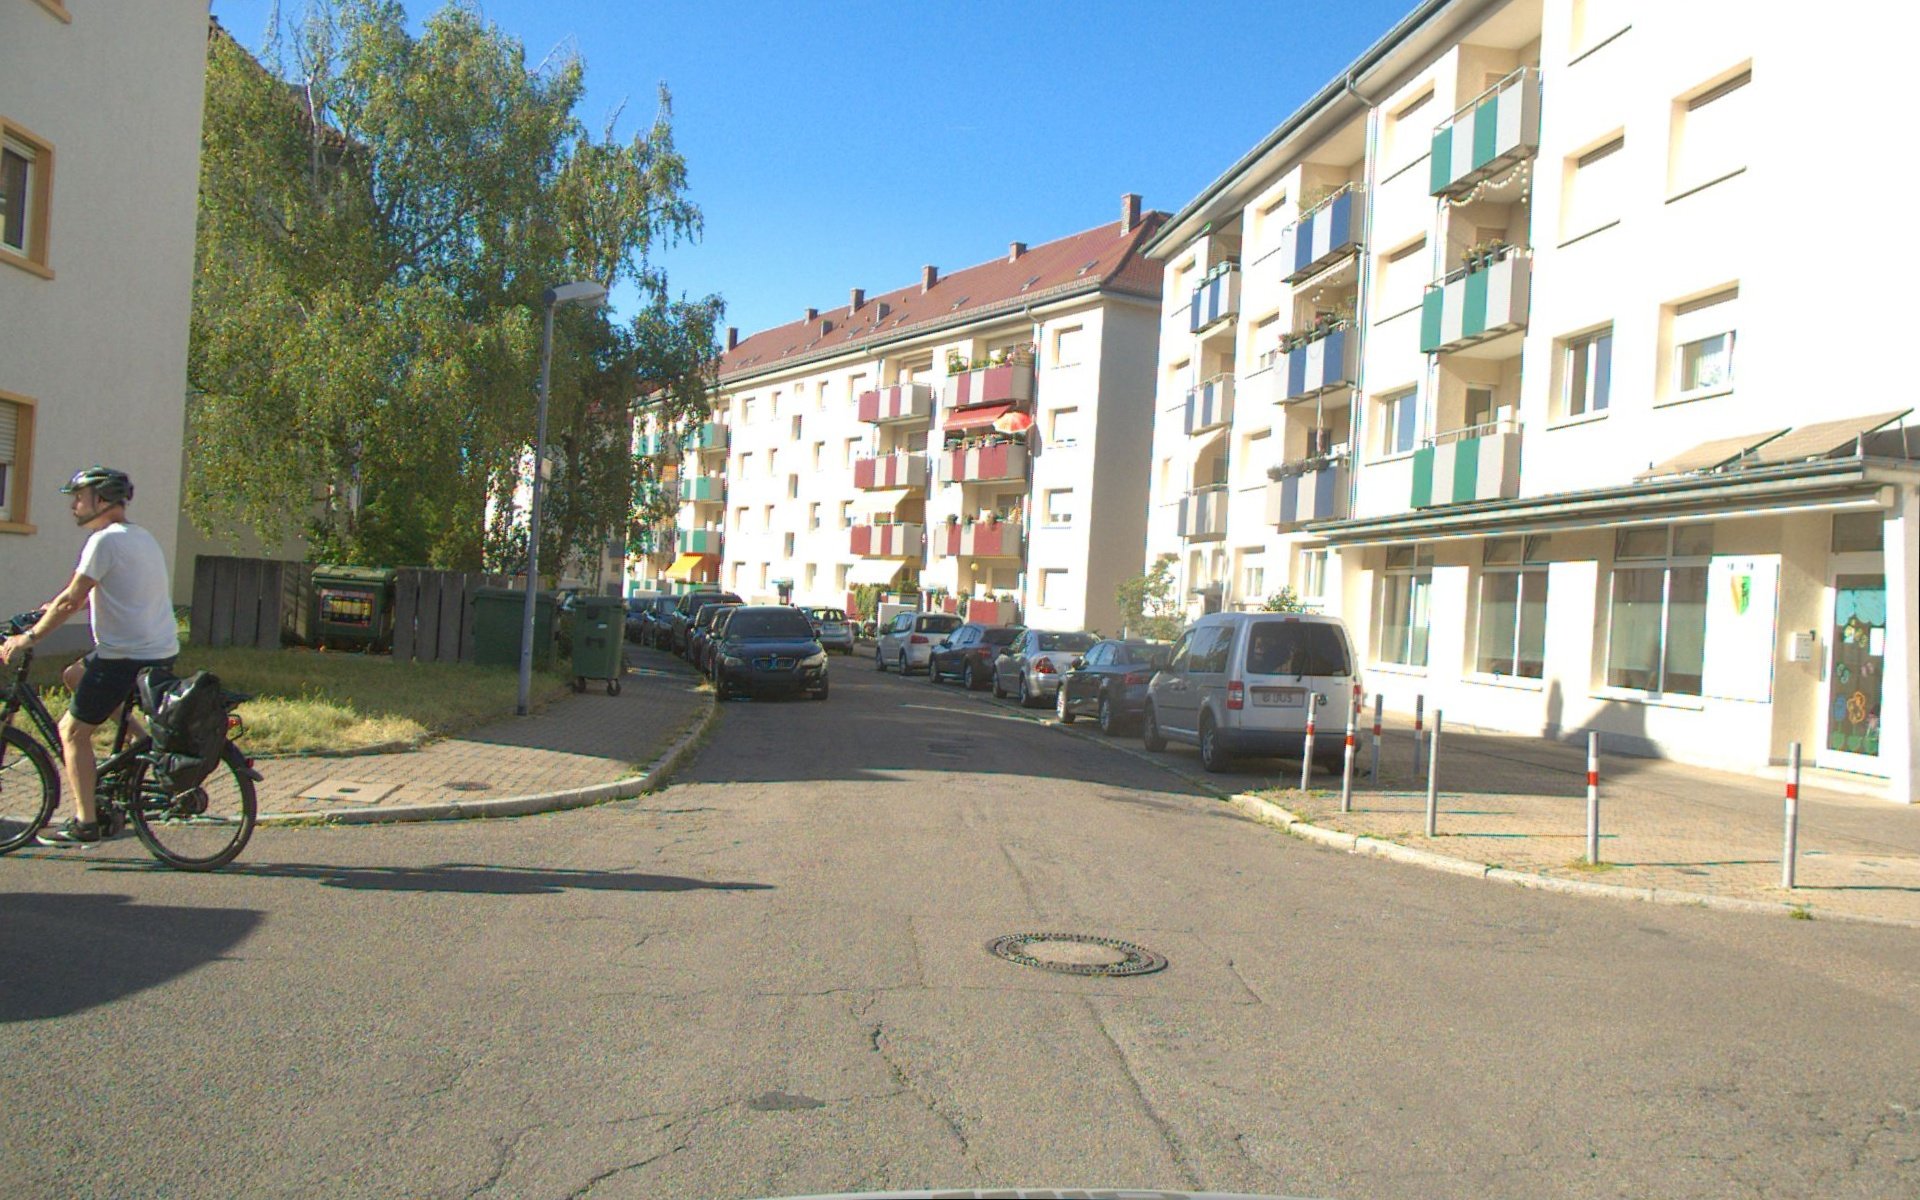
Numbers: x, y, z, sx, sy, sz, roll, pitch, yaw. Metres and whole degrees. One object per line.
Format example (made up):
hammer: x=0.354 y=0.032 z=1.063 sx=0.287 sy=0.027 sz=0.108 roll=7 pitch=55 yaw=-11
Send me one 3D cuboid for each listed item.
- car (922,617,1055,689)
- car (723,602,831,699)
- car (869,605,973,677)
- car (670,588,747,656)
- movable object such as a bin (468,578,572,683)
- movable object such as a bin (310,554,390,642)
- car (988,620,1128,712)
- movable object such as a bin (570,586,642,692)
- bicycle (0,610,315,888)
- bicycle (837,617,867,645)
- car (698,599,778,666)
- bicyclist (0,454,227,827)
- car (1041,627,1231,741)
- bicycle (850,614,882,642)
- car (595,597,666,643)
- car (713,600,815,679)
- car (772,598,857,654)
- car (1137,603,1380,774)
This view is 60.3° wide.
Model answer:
car: x=0.570 y=1.176 z=37.800 sx=1.667 sy=1.456 sz=4.666 roll=2 pitch=-1 yaw=-17
car: x=-3.178 y=0.797 z=28.142 sx=1.647 sy=1.478 sz=4.611 roll=1 pitch=0 yaw=-8
car: x=-1.106 y=1.067 z=44.312 sx=1.666 sy=1.684 sz=4.371 roll=2 pitch=0 yaw=-16
car: x=-6.792 y=0.560 z=44.345 sx=1.530 sy=1.744 sz=4.319 roll=1 pitch=0 yaw=-16
movable object such as a bin: x=-6.340 y=0.438 z=23.879 sx=1.195 sy=1.404 sz=0.767 roll=4 pitch=-1 yaw=-1
movable object such as a bin: x=-10.550 y=-0.031 z=28.635 sx=1.040 sy=1.460 sz=1.001 roll=2 pitch=0 yaw=-6
car: x=1.809 y=1.218 z=32.062 sx=1.647 sy=1.472 sz=4.713 roll=4 pitch=0 yaw=-9
movable object such as a bin: x=-5.025 y=0.541 z=23.551 sx=0.761 sy=1.417 sz=1.415 roll=3 pitch=-1 yaw=-6
bicycle: x=-3.986 y=0.642 z=7.583 sx=1.772 sy=1.134 sz=0.629 roll=3 pitch=-2 yaw=8
bicycle: x=-4.249 y=1.204 z=65.093 sx=0.491 sy=1.037 sz=1.827 roll=2 pitch=0 yaw=-26
car: x=-5.210 y=0.722 z=38.534 sx=1.528 sy=1.468 sz=3.955 roll=1 pitch=0 yaw=-12
bicyclist: x=-3.993 y=0.173 z=7.590 sx=0.885 sy=1.606 sz=0.598 roll=3 pitch=-1 yaw=7
car: x=2.641 y=1.242 z=25.930 sx=1.648 sy=1.431 sz=4.533 roll=4 pitch=0 yaw=-11
bicycle: x=-3.744 y=1.117 z=65.836 sx=0.609 sy=0.995 sz=1.881 roll=0 pitch=2 yaw=-25
car: x=-11.696 y=0.699 z=58.550 sx=1.670 sy=1.413 sz=4.129 roll=4 pitch=0 yaw=-22
car: x=-4.006 y=0.754 z=33.295 sx=1.648 sy=1.468 sz=4.267 roll=1 pitch=0 yaw=-12
car: x=-4.994 y=0.858 z=56.453 sx=1.741 sy=1.664 sz=4.014 roll=2 pitch=1 yaw=-23
car: x=3.523 y=0.990 z=20.296 sx=1.714 sy=1.856 sz=4.124 roll=1 pitch=0 yaw=-8
